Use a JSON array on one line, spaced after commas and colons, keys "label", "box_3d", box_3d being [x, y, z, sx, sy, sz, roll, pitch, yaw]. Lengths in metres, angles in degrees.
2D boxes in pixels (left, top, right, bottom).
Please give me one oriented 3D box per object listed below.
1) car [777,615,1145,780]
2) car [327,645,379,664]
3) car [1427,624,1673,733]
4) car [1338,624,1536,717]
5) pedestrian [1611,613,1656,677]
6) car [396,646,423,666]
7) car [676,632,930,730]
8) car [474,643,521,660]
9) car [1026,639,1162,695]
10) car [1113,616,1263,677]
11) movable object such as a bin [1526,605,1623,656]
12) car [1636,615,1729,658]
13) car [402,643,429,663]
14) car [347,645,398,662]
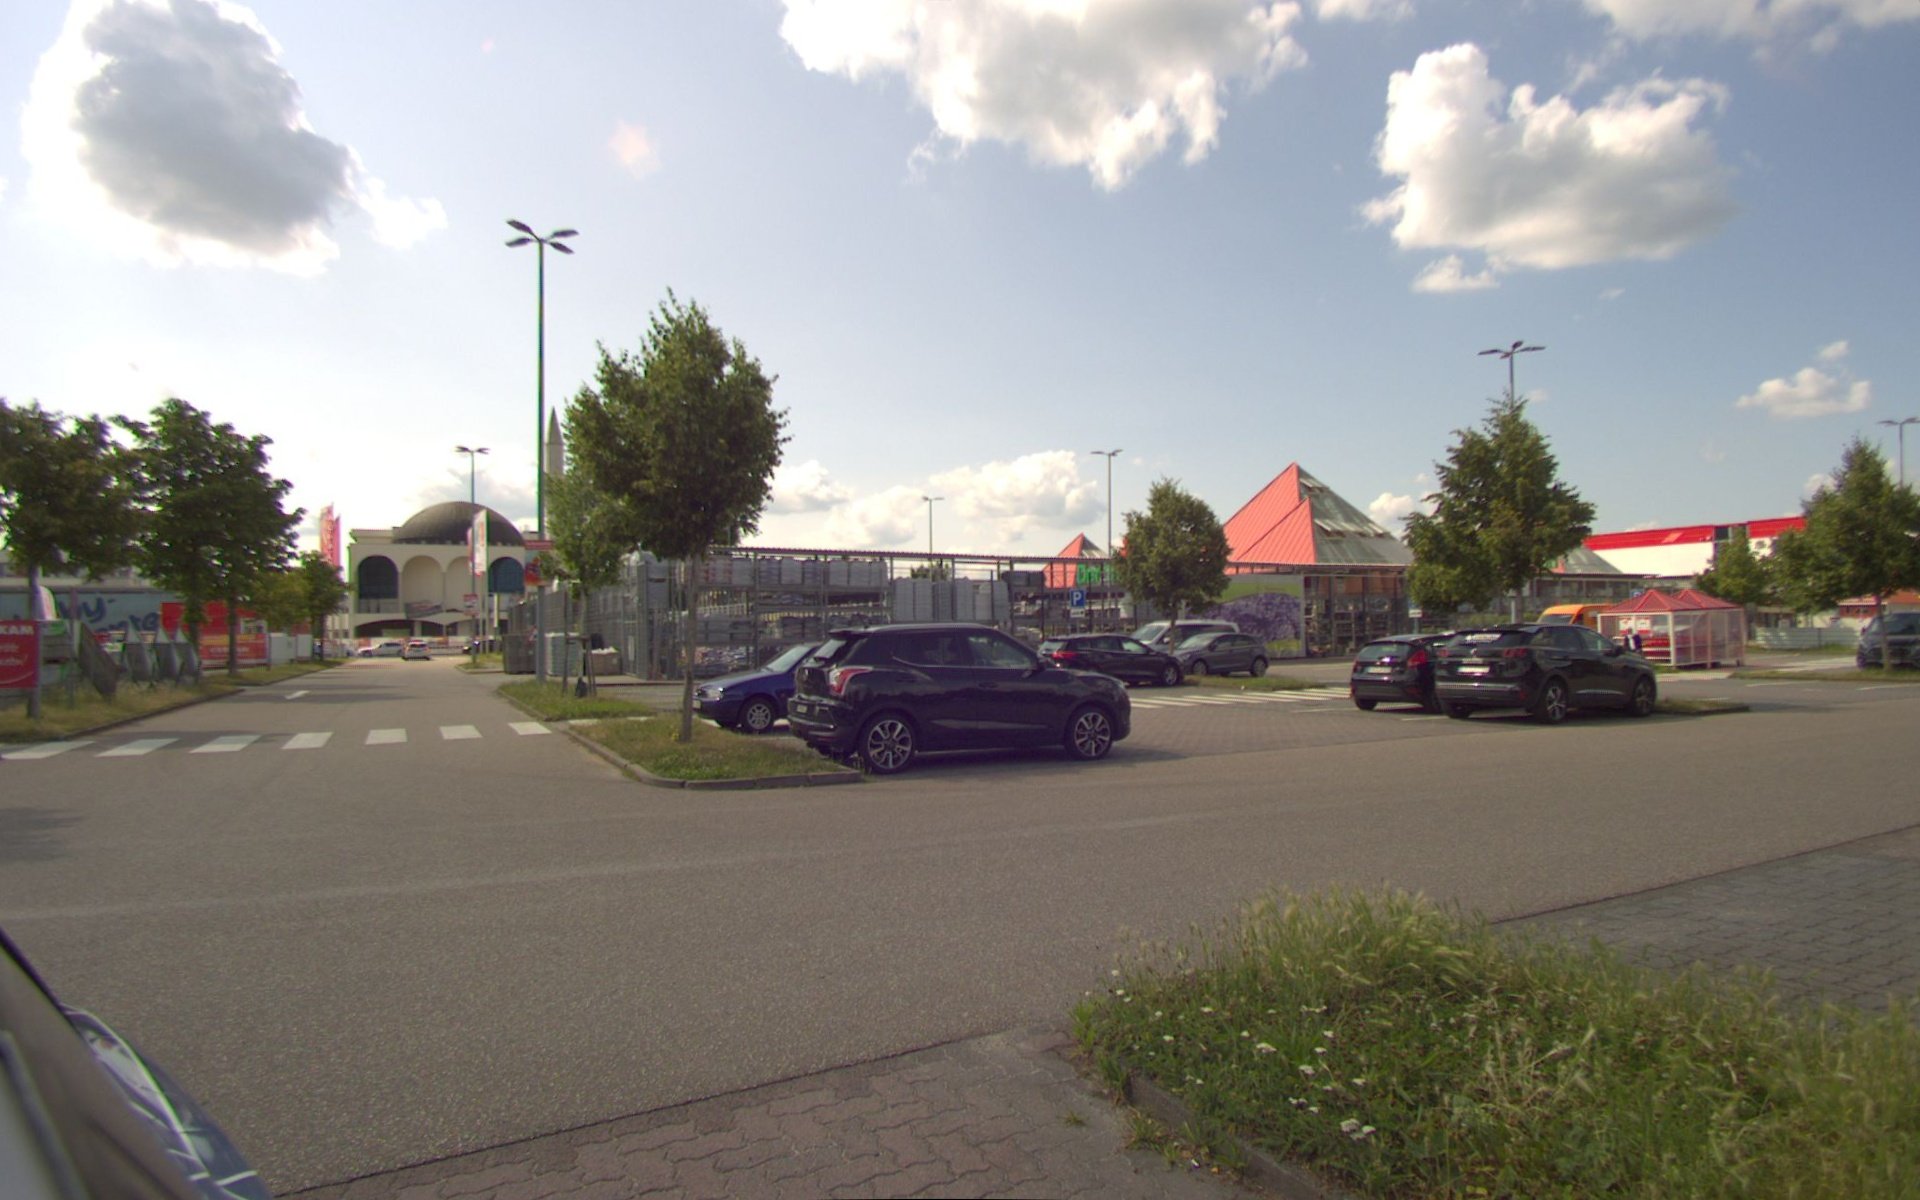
[{"label": "car", "box_3d": [0.023, 1.021, 11.789, 3.894, 1.637, 1.741, 0, -2, -26]}, {"label": "car", "box_3d": [-56.094, 5.011, 93.544, 3.930, 1.636, 1.785, 1, 0, -26]}, {"label": "car", "box_3d": [9.994, 1.244, 17.107, 4.014, 1.637, 1.789, 1, -3, -30]}, {"label": "car", "box_3d": [9.239, 1.297, 19.553, 3.645, 1.637, 1.788, 1, -3, -34]}, {"label": "pedestrian", "box_3d": [21.671, 1.435, 32.555, 0.899, 2.029, 0.820, 1, -3, -30]}, {"label": "car", "box_3d": [-46.981, 4.792, 86.359, 1.888, 1.630, 4.387, 1, -3, -29]}, {"label": "car", "box_3d": [-2.508, 1.233, 16.283, 3.698, 1.378, 1.626, 0, -2, -28]}, {"label": "car", "box_3d": [-45.381, 5.028, 99.311, 3.931, 1.658, 1.912, 1, -3, -31]}, {"label": "car", "box_3d": [3.704, 1.808, 27.958, 3.298, 1.415, 1.816, 1, -3, -31]}, {"label": "car", "box_3d": [8.126, 1.616, 35.907, 5.098, 2.029, 2.006, 1, -3, -28]}, {"label": "movable object such as a bin", "box_3d": [31.342, 1.551, 51.555, 5.247, 2.513, 2.136, 1, -3, -34]}, {"label": "car", "box_3d": [36.796, 1.830, 51.538, 4.725, 2.029, 2.006, 1, 0, -29]}, {"label": "car", "box_3d": [-43.405, 4.198, 80.705, 1.778, 1.476, 4.343, 0, -2, -26]}, {"label": "car", "box_3d": [-56.364, 5.152, 97.113, 4.121, 1.521, 1.797, 0, -2, -27]}]
